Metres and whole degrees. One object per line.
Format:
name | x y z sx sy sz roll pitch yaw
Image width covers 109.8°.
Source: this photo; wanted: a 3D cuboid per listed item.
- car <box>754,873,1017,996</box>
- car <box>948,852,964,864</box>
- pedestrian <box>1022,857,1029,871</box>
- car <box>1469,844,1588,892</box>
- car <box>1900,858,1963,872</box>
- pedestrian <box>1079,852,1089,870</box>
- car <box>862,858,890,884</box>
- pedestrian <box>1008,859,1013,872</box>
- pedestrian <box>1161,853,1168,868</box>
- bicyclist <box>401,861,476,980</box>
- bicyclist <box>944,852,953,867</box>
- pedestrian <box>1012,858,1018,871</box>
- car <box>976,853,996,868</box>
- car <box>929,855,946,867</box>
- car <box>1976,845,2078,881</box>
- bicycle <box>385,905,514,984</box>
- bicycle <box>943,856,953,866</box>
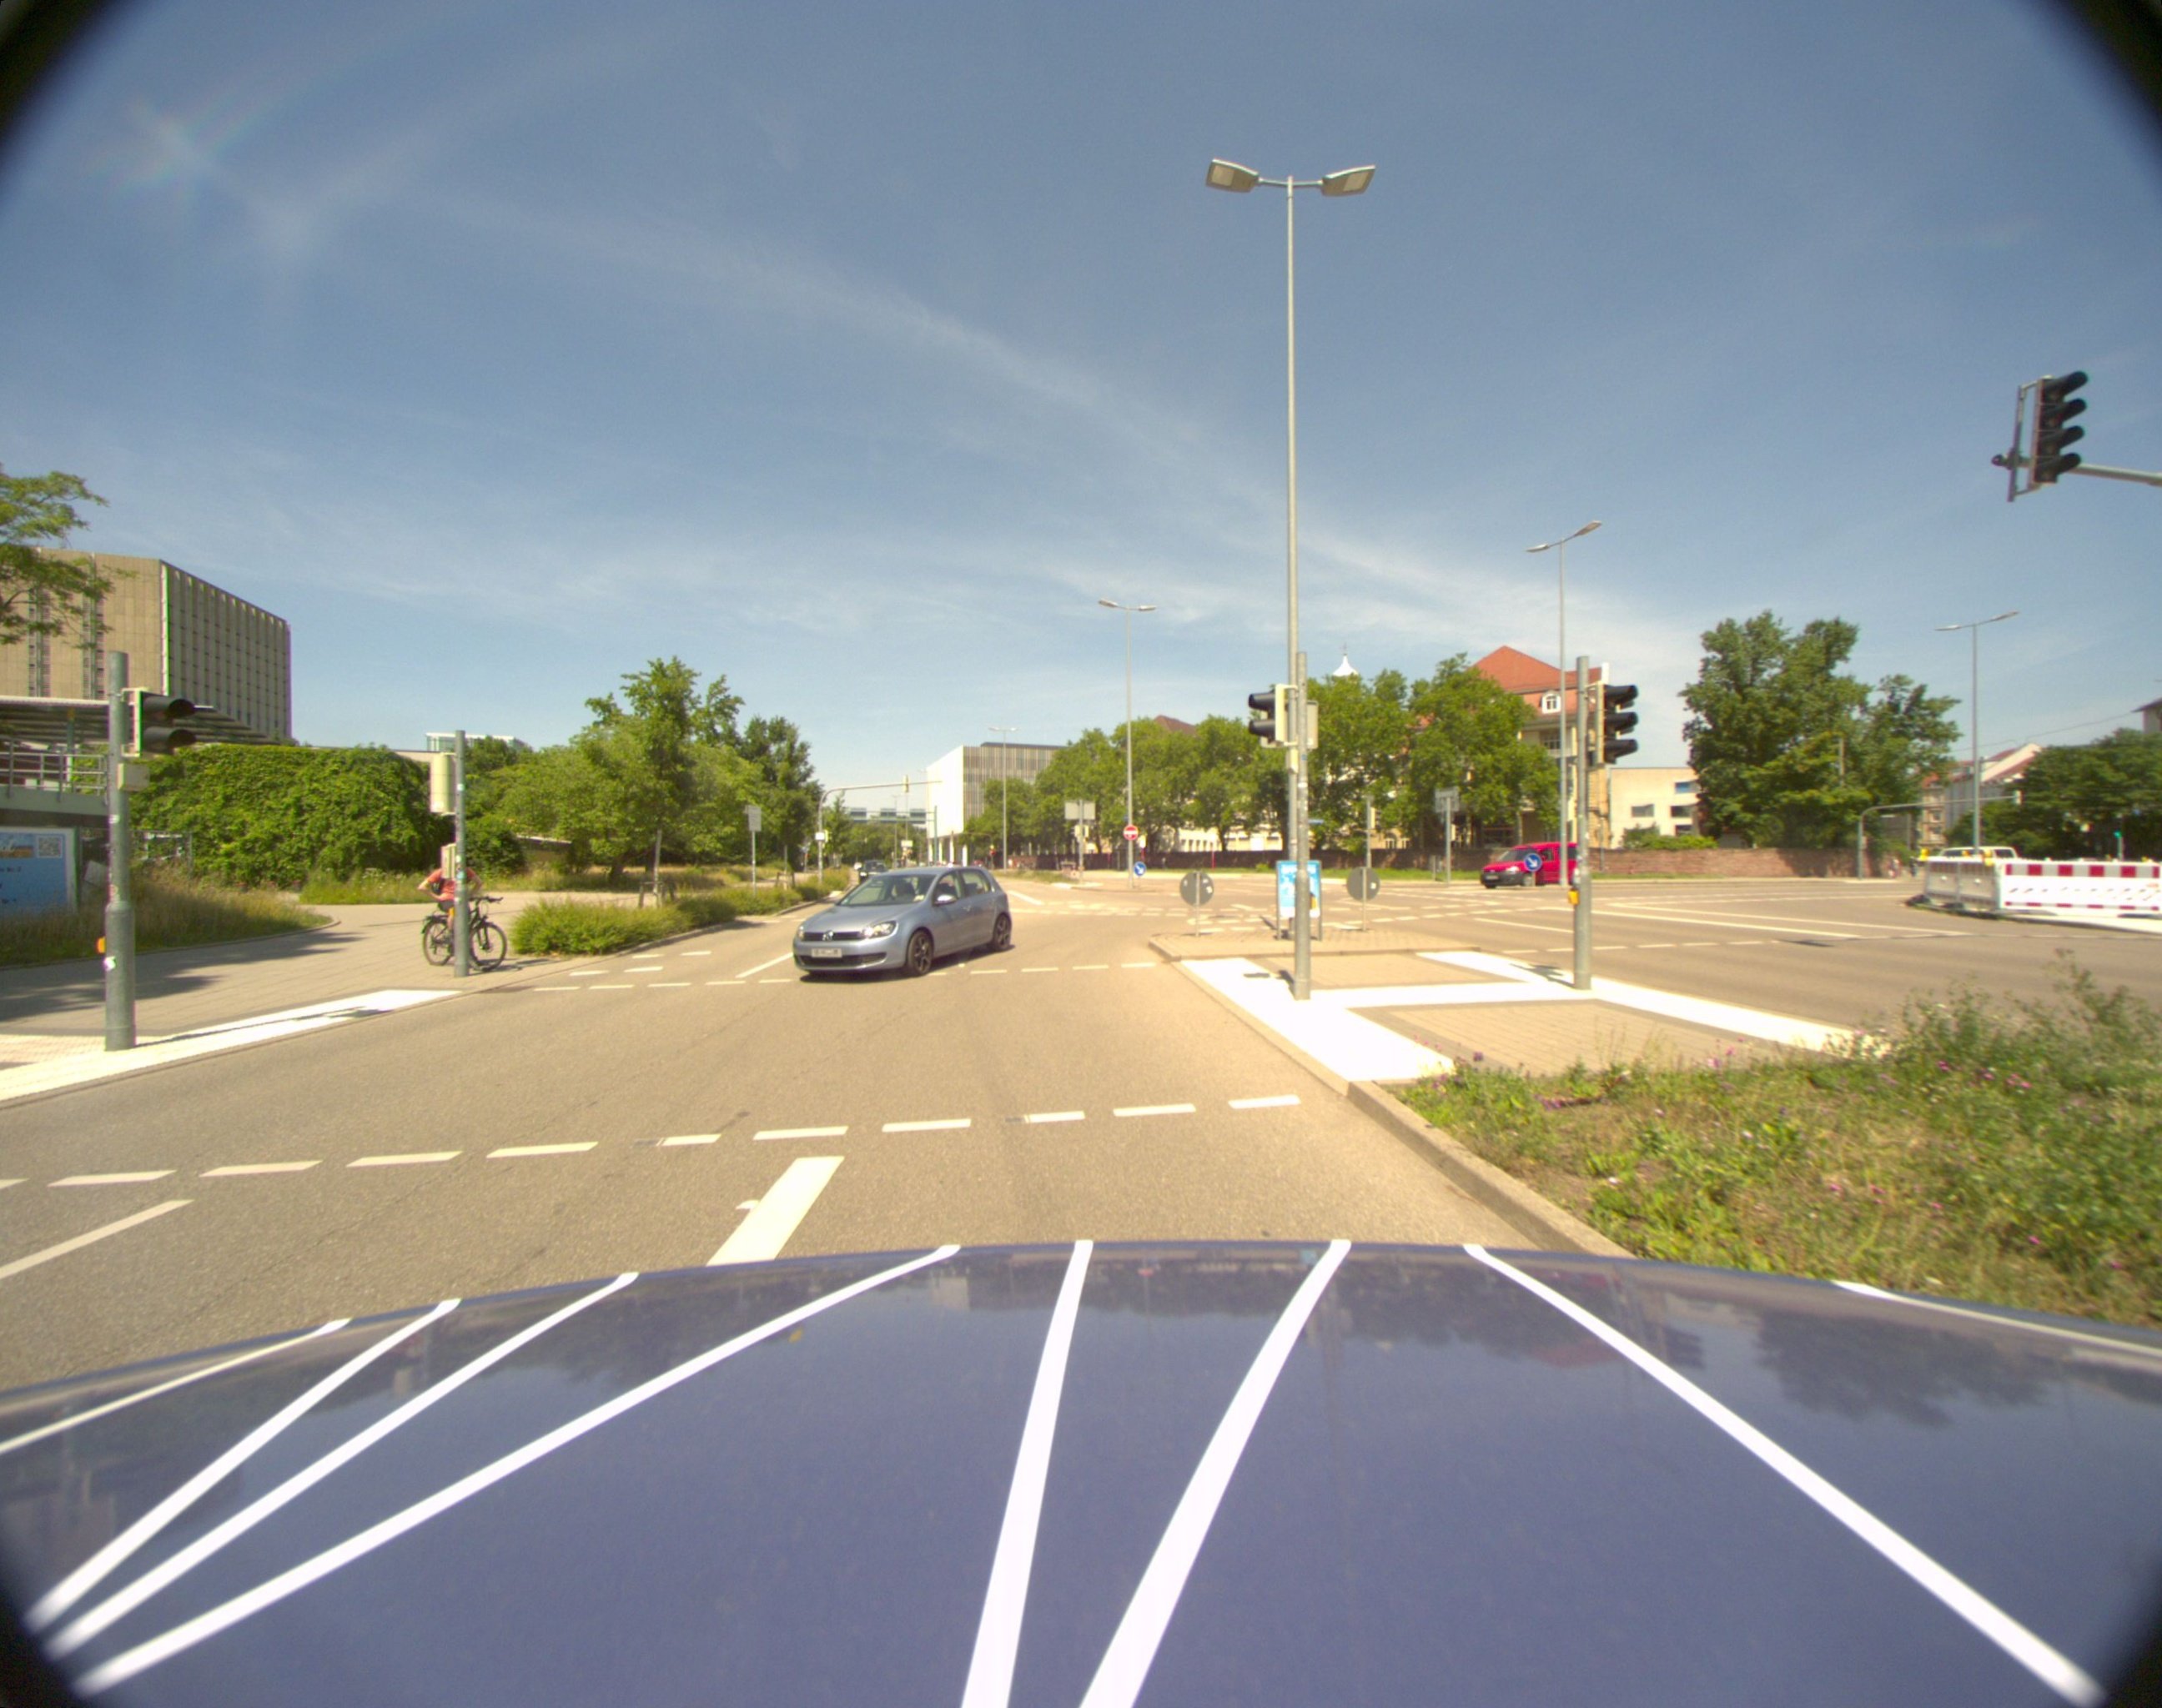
car | -2.625 1.028 11.259 1.829 1.406 4.000 -1 -1 20
car | -18.895 0.621 114.514 1.783 1.673 3.995 0 -2 -17
pedestrian | -8.368 1.479 114.344 0.790 2.001 0.839 0 -2 -20
car | 17.328 0.555 29.402 4.285 1.755 1.831 0 -2 -25
car | 97.368 1.211 87.047 1.823 1.420 4.419 0 1 -17
pedestrian | 0.435 0.965 100.659 0.851 2.276 1.073 0 -2 -35
car | -13.535 1.168 50.302 1.710 1.576 4.552 -1 -2 -14
pedestrian | -10.537 1.725 113.826 0.550 2.001 0.535 0 -2 -19
pedestrian | 9.676 0.760 88.128 0.590 1.710 0.525 1 -2 -45
bicyclist | -9.617 0.971 11.380 0.701 1.705 0.552 0 -1 20
bicyclist | -16.703 0.651 95.872 0.710 1.875 1.136 0 -2 -29
pedestrian | -9.910 1.571 114.021 0.790 2.001 0.962 0 -2 -20
car | -13.495 0.979 107.451 2.002 2.001 4.209 0 -2 -19
car | -21.473 1.045 113.743 1.780 1.658 3.994 0 -2 -21
car | 50.497 0.437 40.548 5.036 1.784 1.929 -1 0 -20
bicycle | -9.392 1.313 11.288 1.992 1.039 0.559 0 -1 21
bicycle | -16.747 0.867 95.839 0.522 1.229 2.188 0 -2 -28
